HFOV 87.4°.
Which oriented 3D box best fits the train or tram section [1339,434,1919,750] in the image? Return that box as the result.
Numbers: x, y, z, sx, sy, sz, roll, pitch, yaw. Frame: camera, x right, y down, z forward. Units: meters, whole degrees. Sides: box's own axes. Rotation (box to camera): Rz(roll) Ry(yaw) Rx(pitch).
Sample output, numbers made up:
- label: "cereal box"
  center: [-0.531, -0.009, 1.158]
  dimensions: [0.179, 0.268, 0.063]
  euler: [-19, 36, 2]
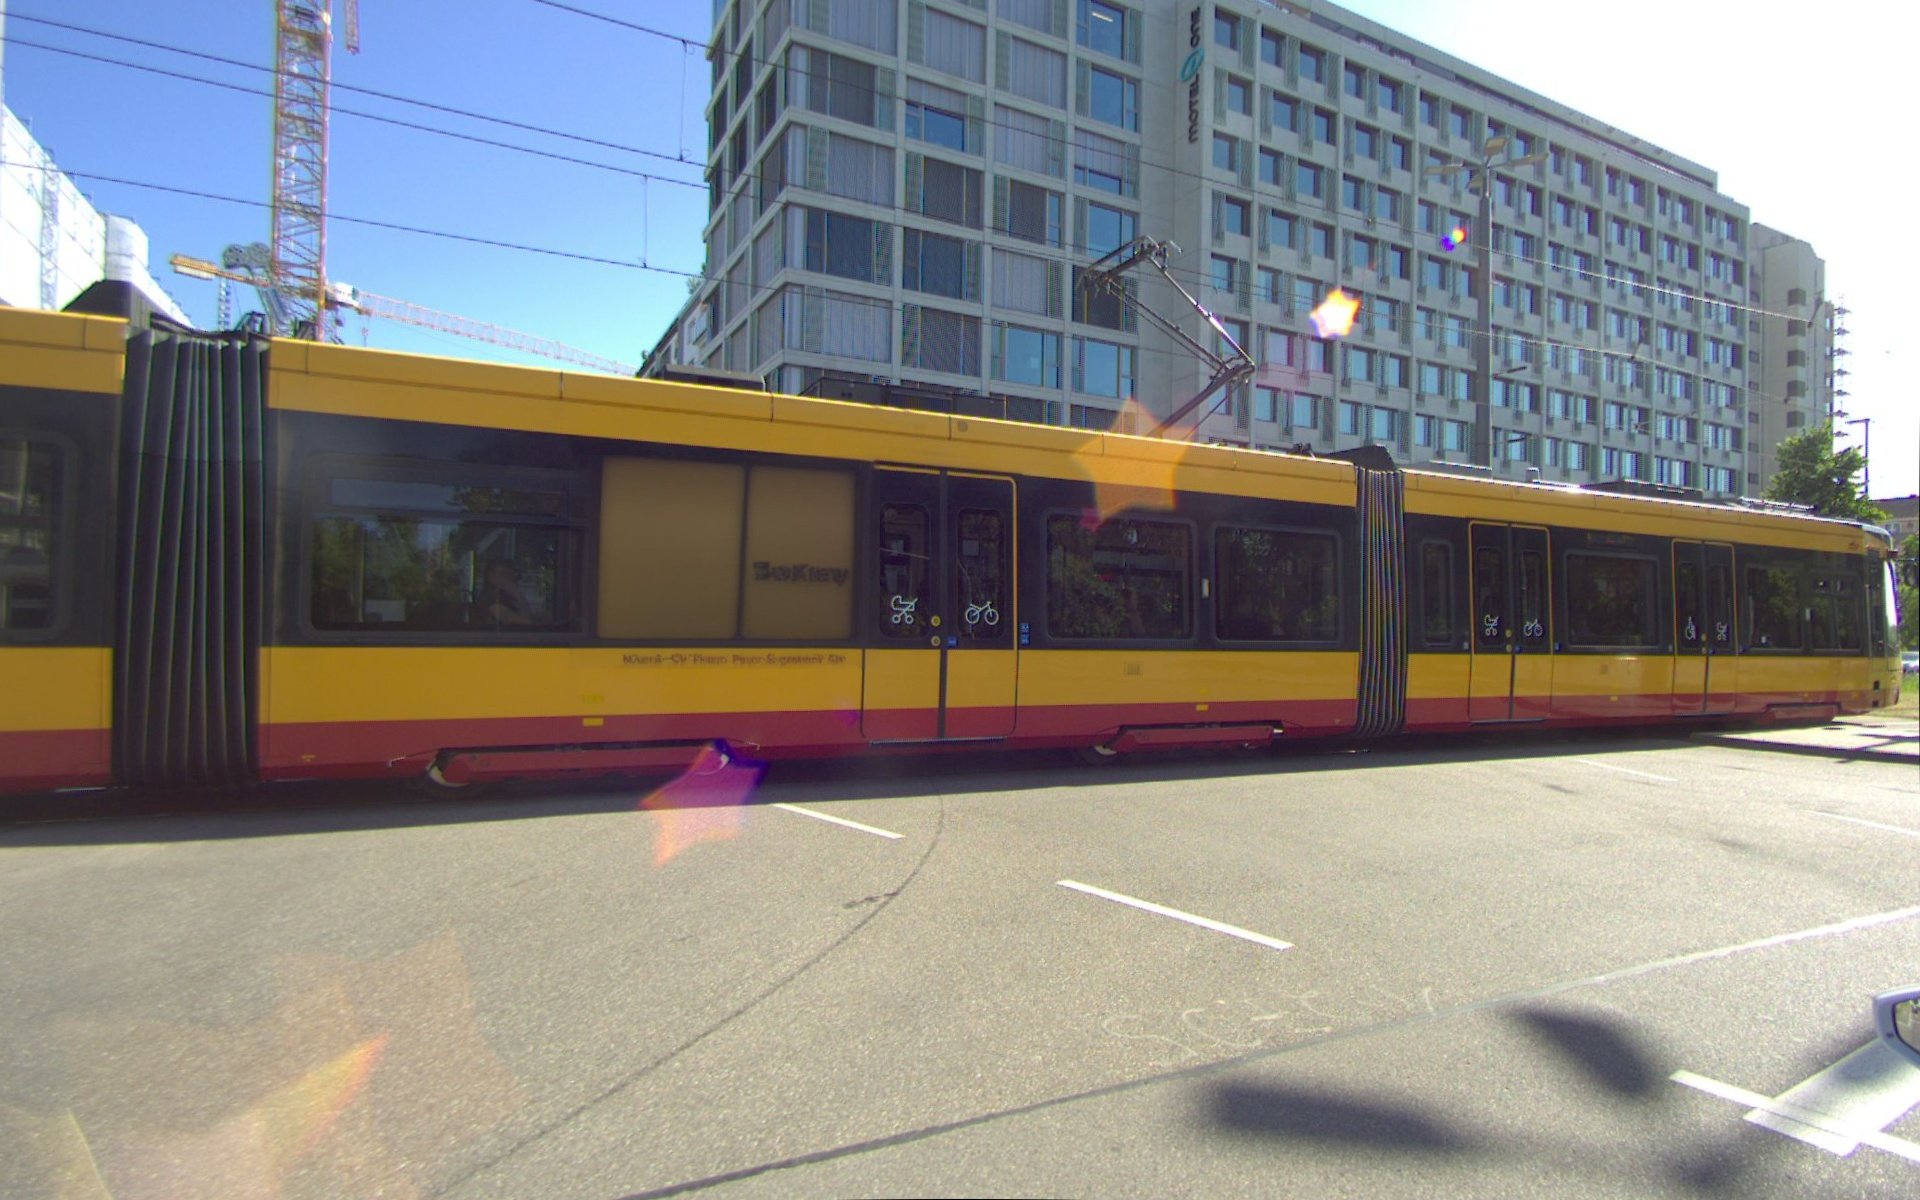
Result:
- label: "train or tram section"
  center: [10.772, 0.091, 15.244]
  dimensions: [11.529, 3.718, 1.987]
  euler: [2, 0, -26]

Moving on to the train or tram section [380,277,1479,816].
- label: "train or tram section"
  center: [0.646, -0.190, 10.288]
  dimensions: [11.167, 3.718, 1.987]
  euler: [2, 0, -26]

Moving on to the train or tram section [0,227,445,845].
- label: "train or tram section"
  center: [-10.464, -0.540, 4.902]
  dimensions: [13.962, 3.718, 1.987]
  euler: [2, 0, -26]

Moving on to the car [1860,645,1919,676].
- label: "car"
  center: [51.572, 3.316, 55.092]
  dimensions: [3.948, 1.572, 1.986]
  euler: [2, -1, -27]
